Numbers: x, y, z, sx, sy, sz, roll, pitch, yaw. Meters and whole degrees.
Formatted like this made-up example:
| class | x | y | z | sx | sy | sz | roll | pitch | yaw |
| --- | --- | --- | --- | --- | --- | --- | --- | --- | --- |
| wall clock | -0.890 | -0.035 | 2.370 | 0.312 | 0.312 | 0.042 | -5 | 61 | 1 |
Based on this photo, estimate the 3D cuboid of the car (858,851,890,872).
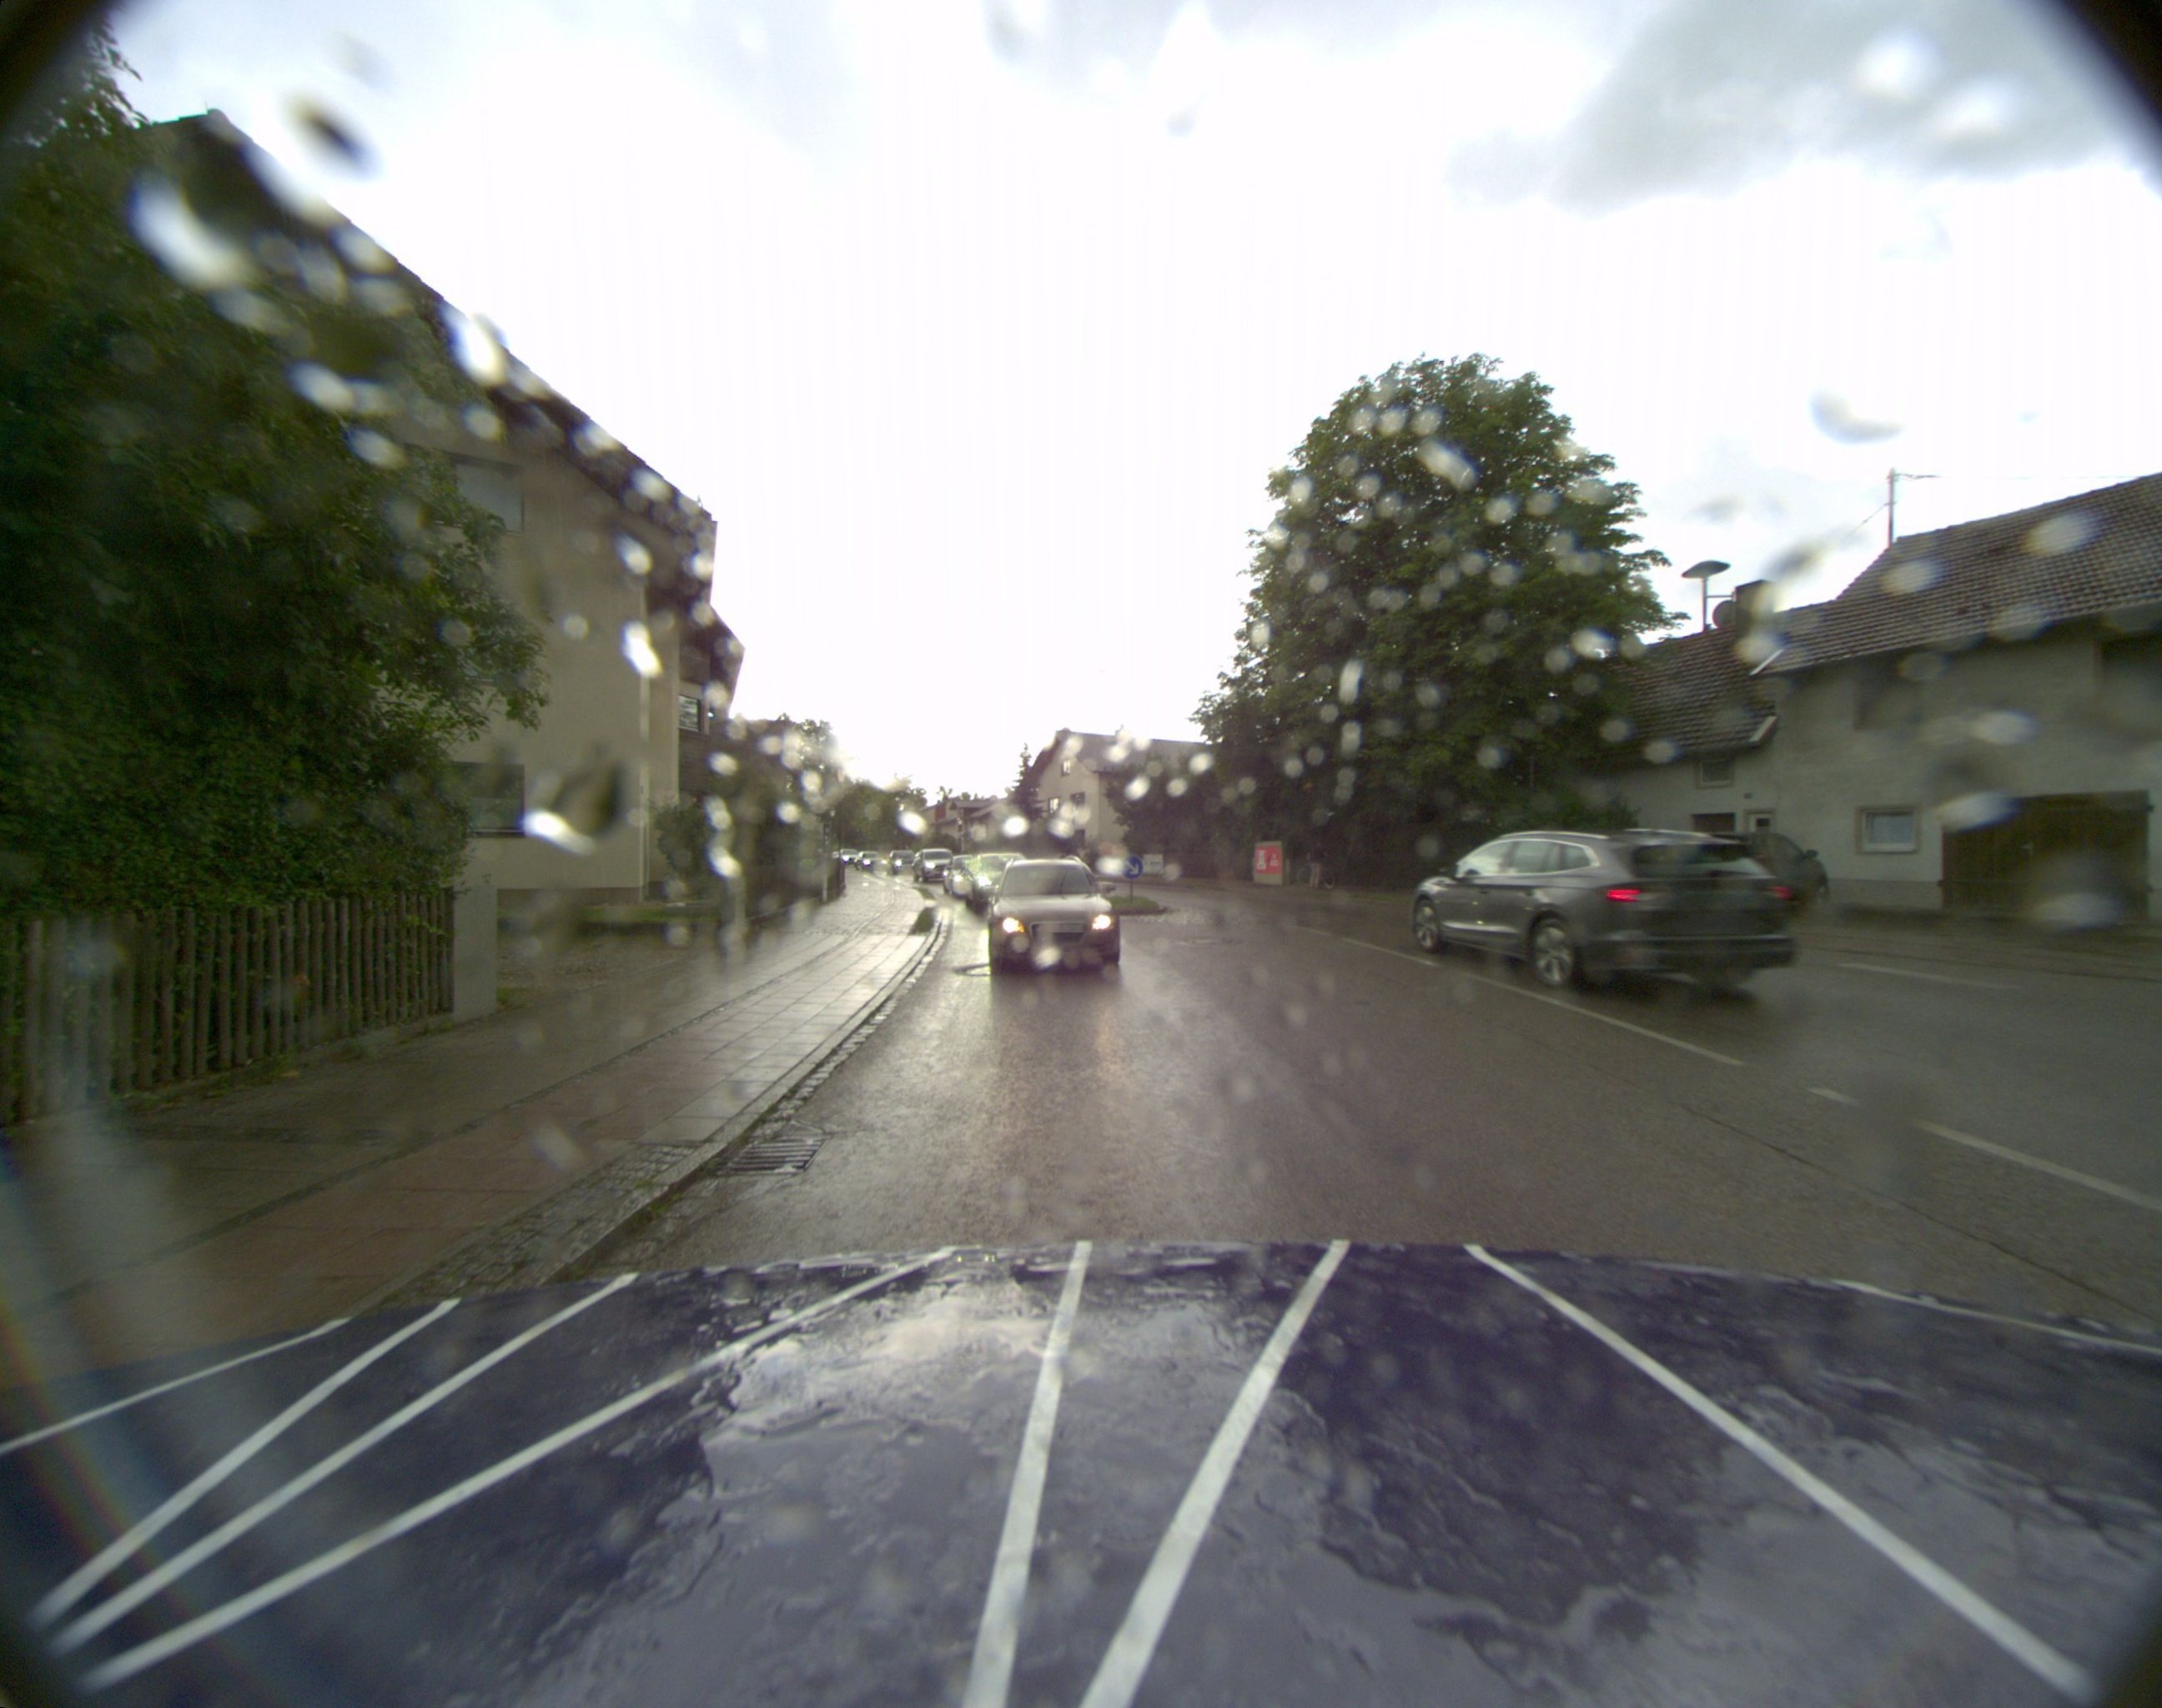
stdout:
| class | x | y | z | sx | sy | sz | roll | pitch | yaw |
| --- | --- | --- | --- | --- | --- | --- | --- | --- | --- |
| car | -16.976 | 0.603 | 62.088 | 1.797 | 1.539 | 4.272 | -3 | 1 | -24 |

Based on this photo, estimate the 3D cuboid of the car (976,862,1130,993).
| class | x | y | z | sx | sy | sz | roll | pitch | yaw |
| --- | --- | --- | --- | --- | --- | --- | --- | --- | --- |
| car | -0.573 | 0.893 | 11.202 | 1.795 | 1.387 | 4.278 | -2 | 1 | -7 |

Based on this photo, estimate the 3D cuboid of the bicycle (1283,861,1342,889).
| class | x | y | z | sx | sy | sz | roll | pitch | yaw |
| --- | --- | --- | --- | --- | --- | --- | --- | --- | --- |
| bicycle | 7.810 | 0.692 | 25.676 | 0.665 | 0.897 | 1.869 | -2 | 1 | -36 |

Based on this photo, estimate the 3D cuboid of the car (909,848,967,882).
| class | x | y | z | sx | sy | sz | roll | pitch | yaw |
| --- | --- | --- | --- | --- | --- | --- | --- | --- | --- |
| car | -7.248 | 0.538 | 38.206 | 1.797 | 1.539 | 4.272 | -3 | 1 | -24 |

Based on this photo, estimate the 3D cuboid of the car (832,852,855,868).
| class | x | y | z | sx | sy | sz | roll | pitch | yaw |
| --- | --- | --- | --- | --- | --- | --- | --- | --- | --- |
| car | -25.482 | 0.635 | 81.420 | 1.797 | 1.539 | 4.272 | -3 | 1 | -24 |

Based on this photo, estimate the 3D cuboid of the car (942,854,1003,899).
| class | x | y | z | sx | sy | sz | roll | pitch | yaw |
| --- | --- | --- | --- | --- | --- | --- | --- | --- | --- |
| car | -4.041 | 0.759 | 27.791 | 1.796 | 1.387 | 4.276 | -2 | 1 | -13 |

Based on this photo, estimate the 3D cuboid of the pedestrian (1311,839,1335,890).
| class | x | y | z | sx | sy | sz | roll | pitch | yaw |
| --- | --- | --- | --- | --- | --- | --- | --- | --- | --- |
| pedestrian | 7.849 | 0.333 | 24.619 | 0.652 | 1.619 | 0.480 | -1 | 1 | 25 |

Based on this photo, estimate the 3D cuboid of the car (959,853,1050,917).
| class | x | y | z | sx | sy | sz | roll | pitch | yaw |
| --- | --- | --- | --- | --- | --- | --- | --- | --- | --- |
| car | -2.285 | 0.747 | 21.247 | 1.796 | 1.470 | 5.378 | -2 | 1 | -13 |

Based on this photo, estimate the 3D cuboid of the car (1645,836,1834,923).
| class | x | y | z | sx | sy | sz | roll | pitch | yaw |
| --- | --- | --- | --- | --- | --- | --- | --- | --- | --- |
| car | 13.325 | 0.470 | 15.311 | 4.289 | 1.539 | 1.813 | 1 | 0 | -34 |

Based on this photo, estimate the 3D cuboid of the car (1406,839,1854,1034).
| class | x | y | z | sx | sy | sz | roll | pitch | yaw |
| --- | --- | --- | --- | --- | --- | --- | --- | --- | --- |
| car | 5.565 | 0.696 | 8.550 | 1.998 | 1.585 | 4.191 | -2 | 0 | 0 |

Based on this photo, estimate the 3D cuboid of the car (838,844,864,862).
| class | x | y | z | sx | sy | sz | roll | pitch | yaw |
| --- | --- | --- | --- | --- | --- | --- | --- | --- | --- |
| car | -21.985 | -0.099 | 72.524 | 1.797 | 1.539 | 4.272 | -3 | 1 | -24 |

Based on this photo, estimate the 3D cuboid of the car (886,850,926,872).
| class | x | y | z | sx | sy | sz | roll | pitch | yaw |
| --- | --- | --- | --- | --- | --- | --- | --- | --- | --- |
| car | -11.921 | 0.461 | 51.591 | 1.797 | 1.365 | 4.272 | -3 | 1 | -24 |
